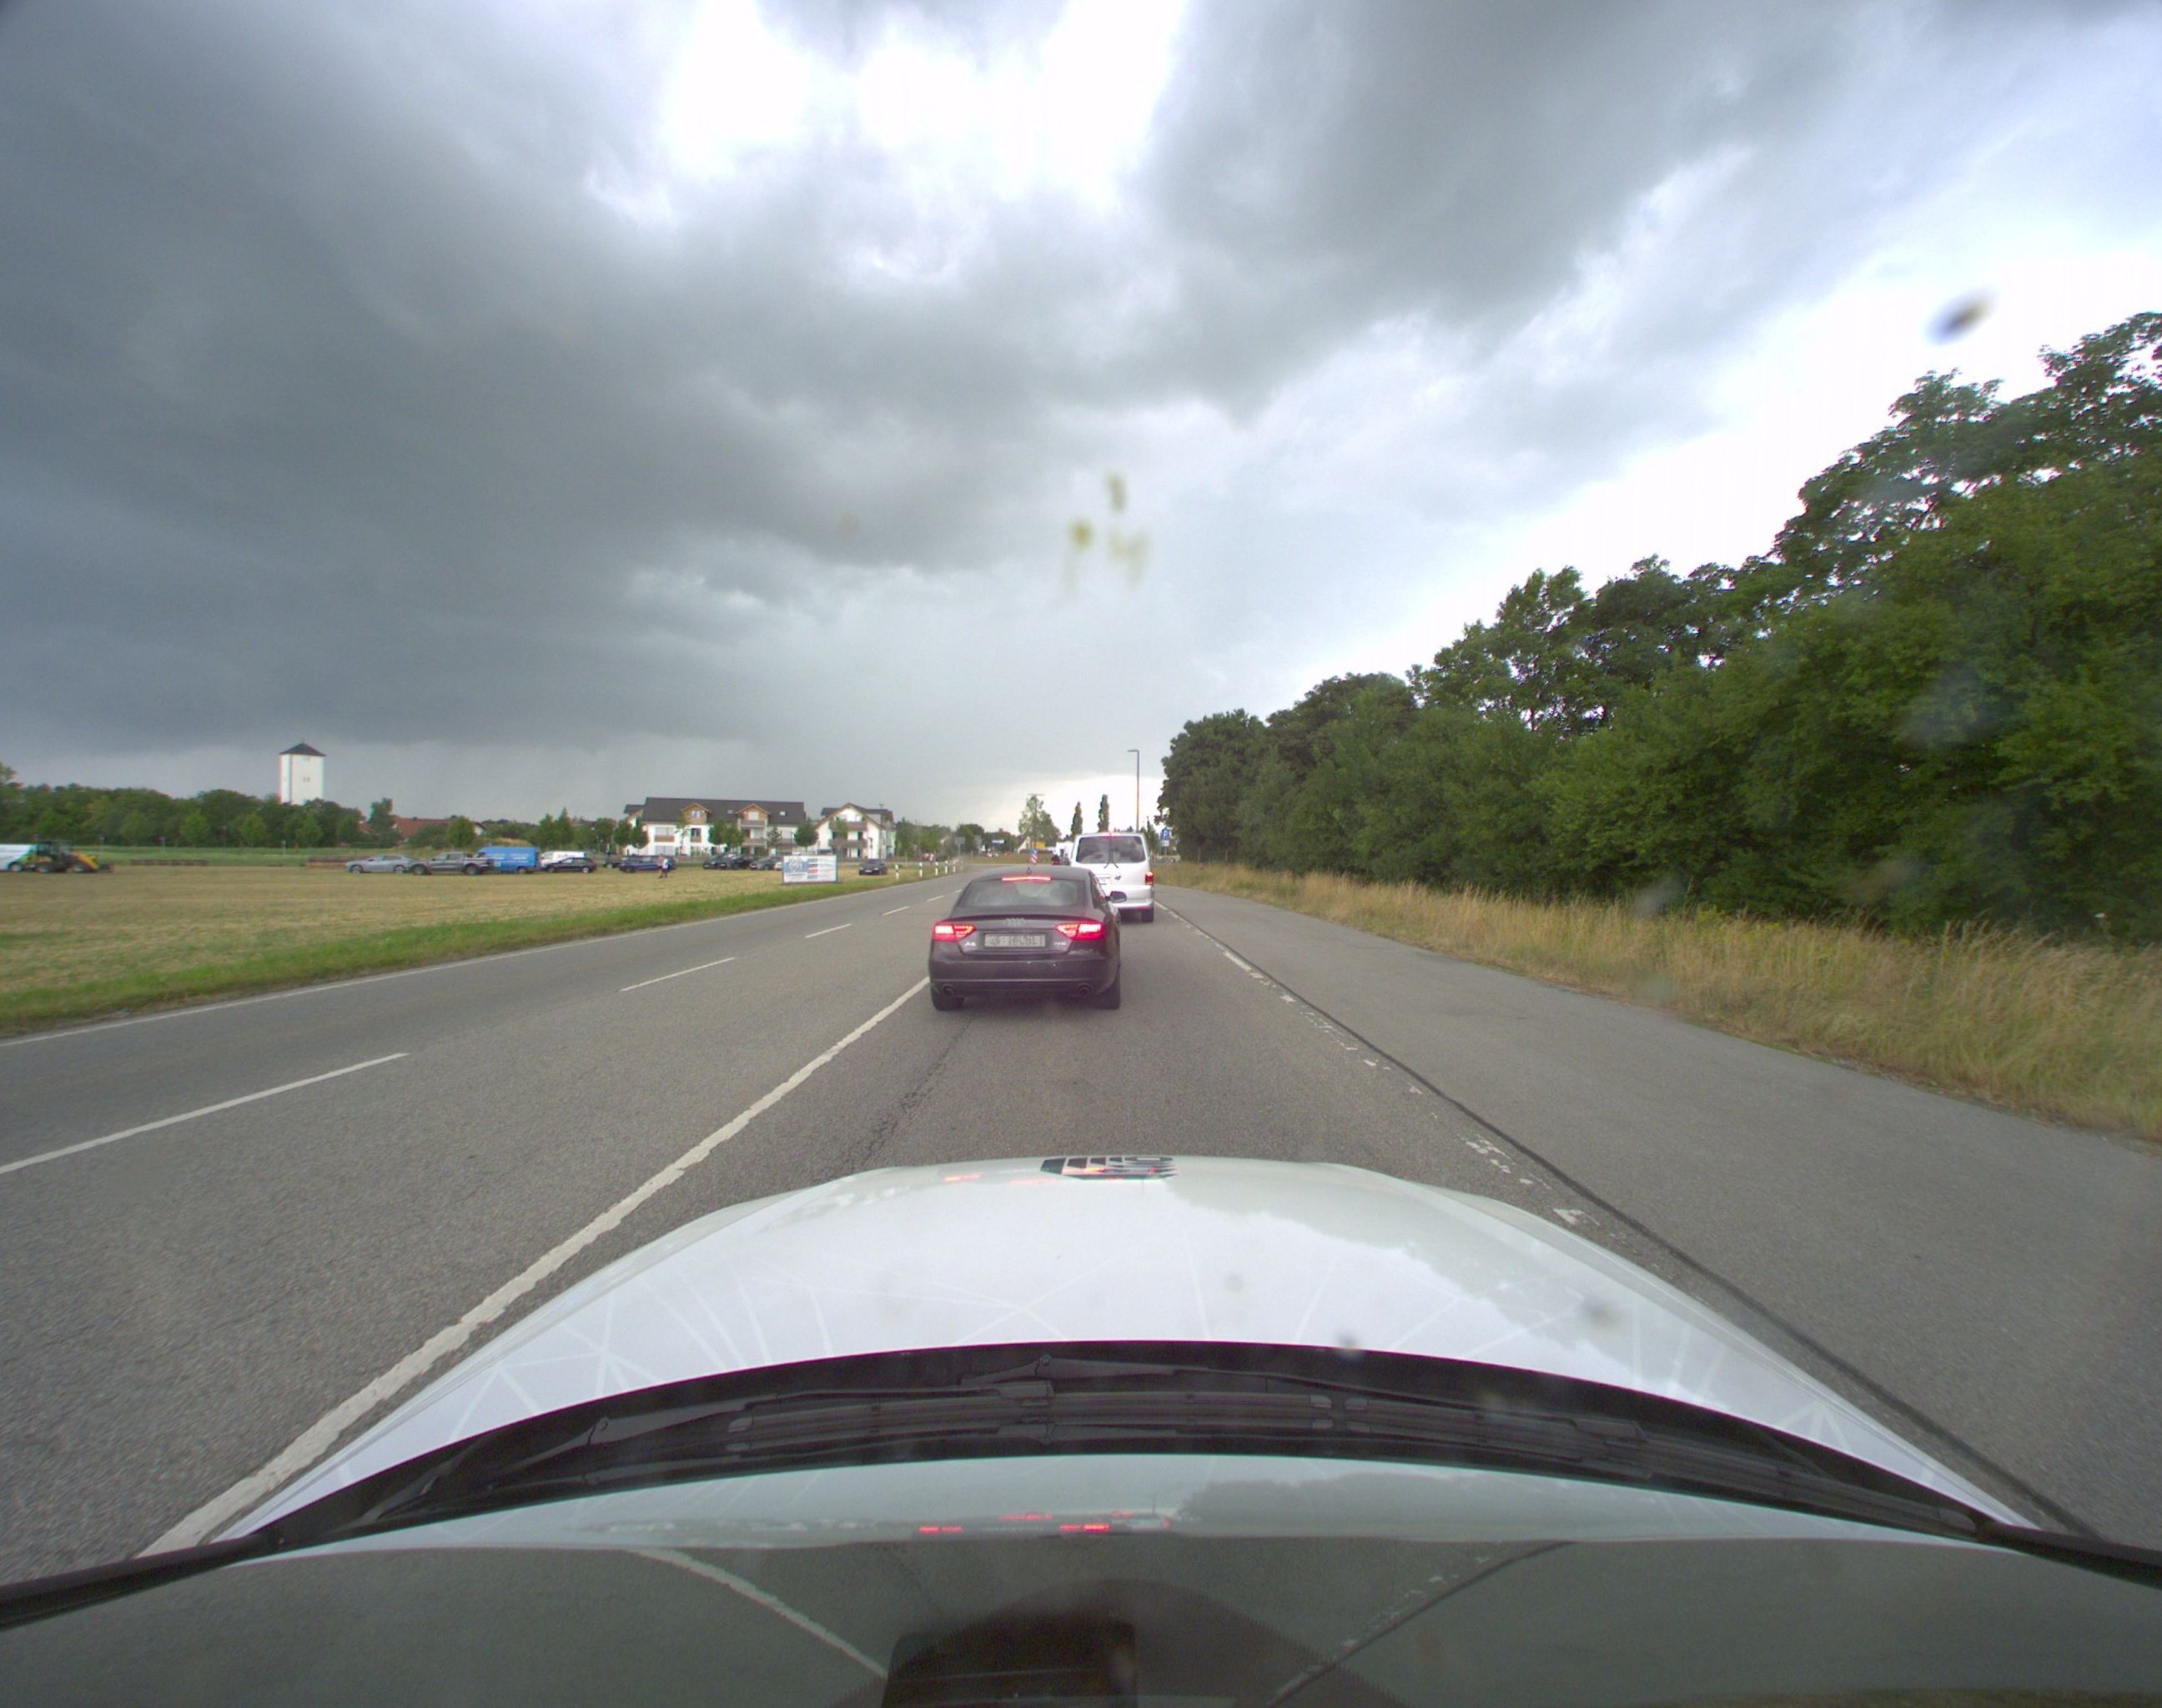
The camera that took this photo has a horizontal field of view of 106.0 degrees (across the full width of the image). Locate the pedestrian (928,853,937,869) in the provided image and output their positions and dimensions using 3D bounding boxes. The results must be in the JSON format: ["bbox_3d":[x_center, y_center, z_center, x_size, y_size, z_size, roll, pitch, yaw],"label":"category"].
[{"bbox_3d":[-15.521,0.738,85.061,0.661,1.586,0.695,0,-1,-39],"label":"pedestrian"}]

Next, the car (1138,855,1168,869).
[{"bbox_3d":[10.515,1.200,119.009,3.953,2.014,2.010,1,0,21],"label":"car"}]

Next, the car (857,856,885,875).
[{"bbox_3d":[-17.633,0.942,68.521,1.993,1.442,3.987,0,1,-10],"label":"car"}]

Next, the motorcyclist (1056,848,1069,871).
[{"bbox_3d":[-1.131,0.345,51.150,0.769,1.383,0.820,0,0,1],"label":"motorcyclist"}]

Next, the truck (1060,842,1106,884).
[{"bbox_3d":[0.167,0.426,41.518,2.185,2.013,5.086,0,0,2],"label":"truck"}]

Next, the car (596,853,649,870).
[{"bbox_3d":[-48.412,0.795,86.081,4.640,1.697,1.987,0,0,-19],"label":"car"}]

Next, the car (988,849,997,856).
[{"bbox_3d":[-21.209,-0.392,195.837,1.989,1.642,3.996,1,0,-3],"label":"car"}]

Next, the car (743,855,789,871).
[{"bbox_3d":[-31.608,0.857,81.872,1.977,1.535,4.232,0,0,20],"label":"car"}]

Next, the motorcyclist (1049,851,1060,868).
[{"bbox_3d":[-2.111,0.422,64.924,0.783,1.356,0.854,0,0,1],"label":"motorcyclist"}]

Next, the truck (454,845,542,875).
[{"bbox_3d":[-48.373,0.488,67.749,5.469,2.446,2.377,0,0,-22],"label":"truck"}]

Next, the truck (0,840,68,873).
[{"bbox_3d":[-76.012,0.171,56.829,6.076,2.217,2.697,0,0,-26],"label":"truck"}]

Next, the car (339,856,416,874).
[{"bbox_3d":[-56.030,0.860,64.962,4.316,1.461,1.876,0,0,-25],"label":"car"}]

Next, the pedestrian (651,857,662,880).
[{"bbox_3d":[-32.334,1.088,62.075,0.548,1.786,0.676,0,0,-10],"label":"pedestrian"}]

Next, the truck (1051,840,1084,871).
[{"bbox_3d":[-1.355,0.112,75.999,2.622,2.737,5.856,1,0,-5],"label":"truck"}]

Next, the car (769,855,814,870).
[{"bbox_3d":[-28.863,0.837,81.423,1.977,1.446,4.232,0,0,20],"label":"car"}]

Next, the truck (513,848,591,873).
[{"bbox_3d":[-48.851,0.581,75.339,5.586,2.196,2.588,0,0,-22],"label":"truck"}]

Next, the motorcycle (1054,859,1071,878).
[{"bbox_3d":[-1.155,0.901,51.261,0.917,1.094,2.189,0,0,1],"label":"motorcycle"}]

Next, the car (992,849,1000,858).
[{"bbox_3d":[-19.680,-0.200,188.515,1.991,2.013,3.992,1,0,-6],"label":"car"}]

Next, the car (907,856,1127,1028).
[{"bbox_3d":[-0.455,0.761,9.039,1.867,1.454,4.179,0,0,2],"label":"car"}]

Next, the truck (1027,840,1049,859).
[{"bbox_3d":[-8.529,-0.973,159.450,3.573,3.578,9.933,1,0,-7],"label":"truck"}]

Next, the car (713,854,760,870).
[{"bbox_3d":[-34.827,0.775,82.490,1.977,1.629,4.232,0,0,20],"label":"car"}]

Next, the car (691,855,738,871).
[{"bbox_3d":[-37.905,0.881,84.350,1.977,1.629,4.232,0,0,20],"label":"car"}]

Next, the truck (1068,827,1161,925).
[{"bbox_3d":[0.748,0.438,18.958,1.897,1.998,4.630,0,0,2],"label":"truck"}]

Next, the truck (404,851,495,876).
[{"bbox_3d":[-49.183,0.714,63.615,5.252,1.920,2.095,0,0,-25],"label":"truck"}]

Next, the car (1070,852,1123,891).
[{"bbox_3d":[0.596,0.659,32.361,1.987,1.485,4.000,0,0,1],"label":"car"}]

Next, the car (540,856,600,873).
[{"bbox_3d":[-45.411,0.925,72.456,4.168,1.519,1.987,0,0,-19],"label":"car"}]

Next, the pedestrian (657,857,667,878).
[{"bbox_3d":[-32.432,1.047,63.092,0.591,1.555,0.622,0,0,-18],"label":"pedestrian"}]

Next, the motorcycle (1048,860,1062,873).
[{"bbox_3d":[-2.078,0.975,65.041,0.940,1.019,2.285,0,0,2],"label":"motorcycle"}]

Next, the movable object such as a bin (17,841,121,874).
[{"bbox_3d":[-69.506,0.241,56.026,4.006,2.243,1.869,0,0,-27],"label":"movable object such as a bin"}]

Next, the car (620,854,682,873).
[{"bbox_3d":[-39.433,0.886,74.752,4.730,1.697,1.987,0,0,-19],"label":"car"}]
